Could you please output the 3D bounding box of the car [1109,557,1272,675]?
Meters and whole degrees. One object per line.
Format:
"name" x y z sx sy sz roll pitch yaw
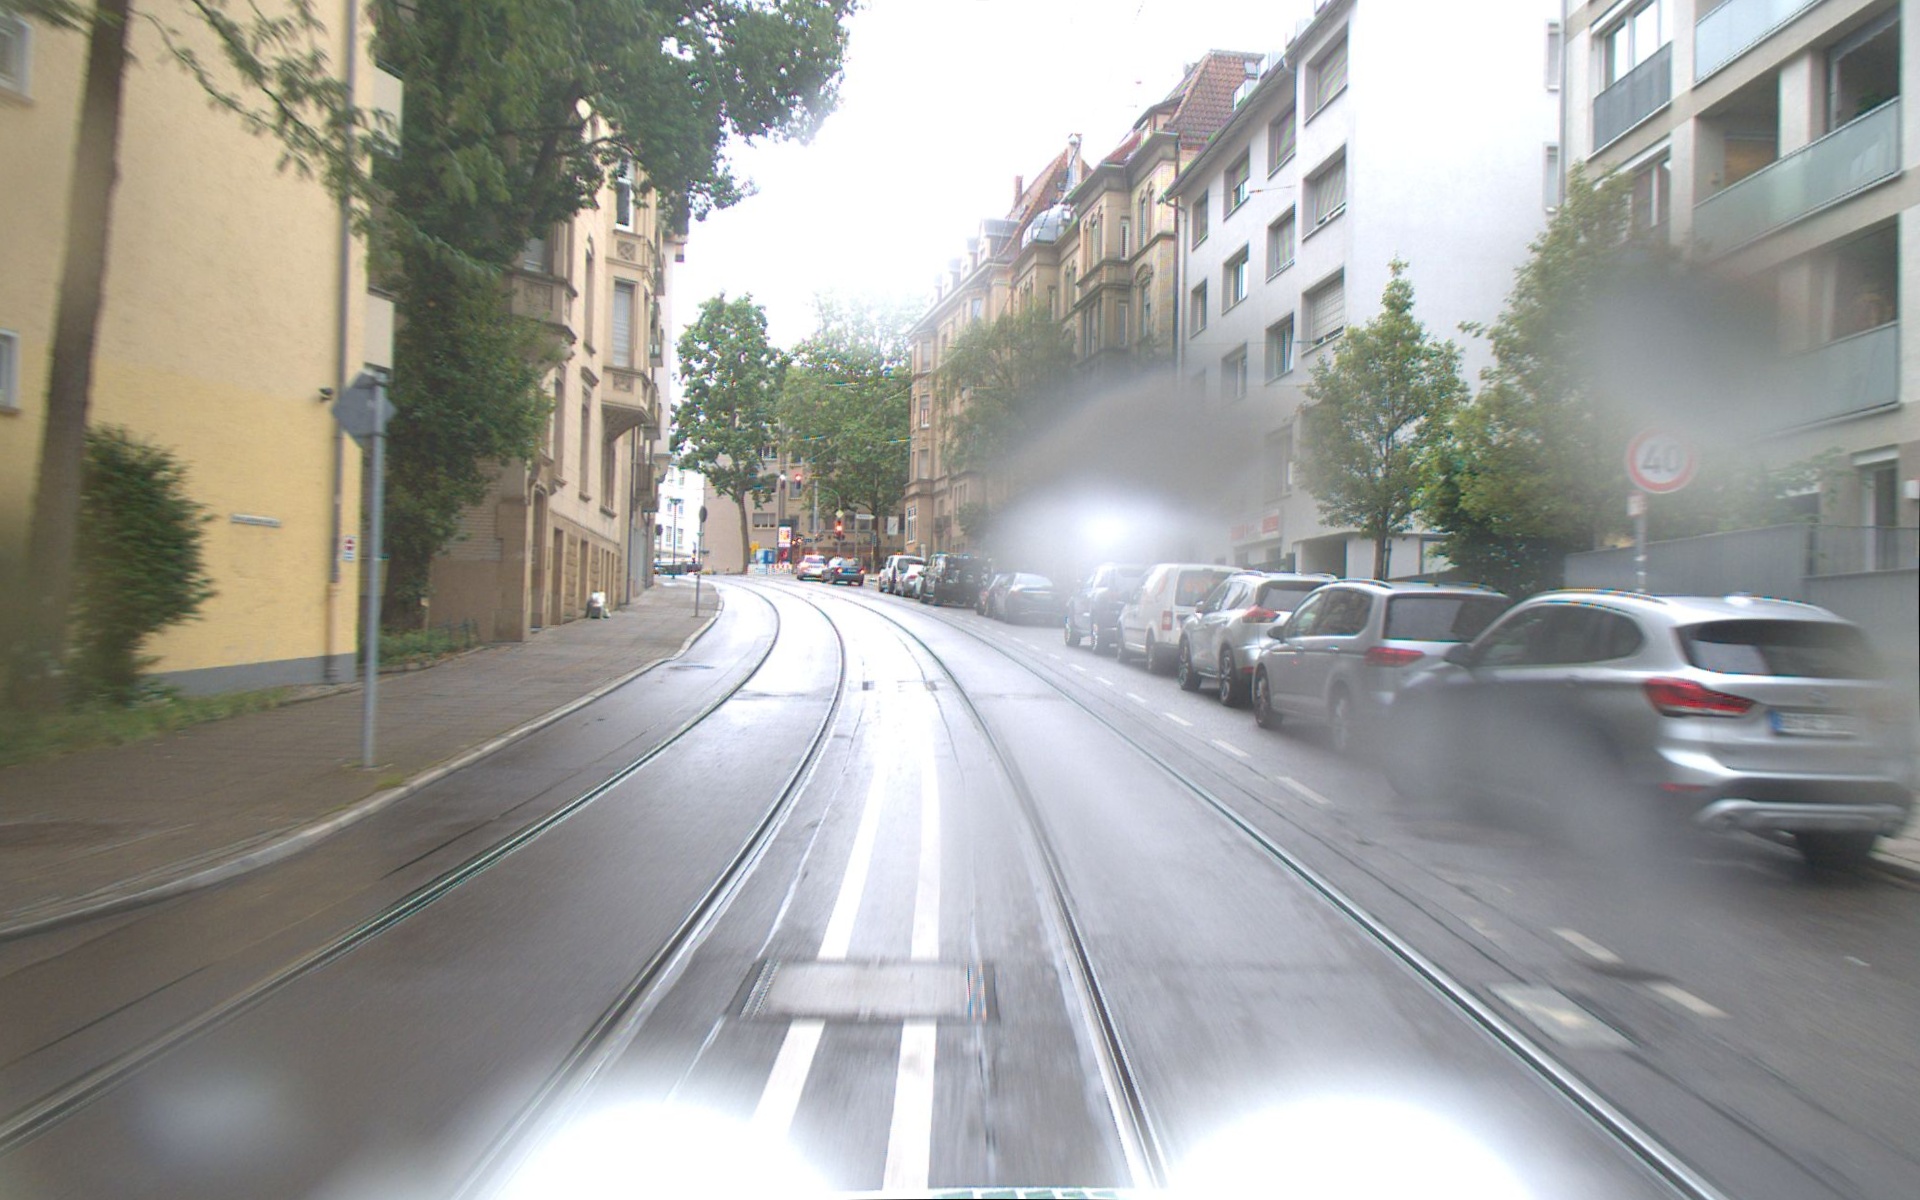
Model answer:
"car" 3.915 0.222 28.802 1.744 1.826 4.466 2 1 -6

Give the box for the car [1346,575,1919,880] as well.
"car" 4.442 0.687 11.371 1.938 1.612 4.558 2 1 -8

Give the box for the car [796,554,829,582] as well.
"car" -8.709 -1.905 97.495 1.679 1.481 3.546 2 2 -9

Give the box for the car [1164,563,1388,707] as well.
"car" 4.173 0.395 22.638 1.796 1.685 4.683 3 1 -4

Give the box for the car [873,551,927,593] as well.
"car" -2.862 -1.346 78.143 1.766 1.795 4.451 4 1 -12

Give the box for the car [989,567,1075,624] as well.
"car" 2.015 -0.165 47.502 1.760 1.462 4.605 3 1 -6

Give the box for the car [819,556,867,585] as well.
"car" -6.494 -1.664 91.683 1.684 1.439 4.016 2 2 -18

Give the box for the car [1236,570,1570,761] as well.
"car" 4.365 0.549 17.139 1.796 1.656 4.659 2 1 -5

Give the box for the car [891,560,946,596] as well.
"car" -1.850 -0.992 72.861 1.717 1.424 4.468 4 1 -10

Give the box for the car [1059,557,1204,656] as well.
"car" 3.442 0.083 34.156 1.905 1.826 4.814 2 1 -7

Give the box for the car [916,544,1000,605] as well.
"car" -0.146 -0.982 61.984 2.091 2.048 5.337 4 1 -11

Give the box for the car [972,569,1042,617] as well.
"car" 1.437 -0.252 52.057 1.646 1.361 3.878 3 1 -6

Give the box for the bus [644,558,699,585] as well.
"bus" -31.733 -3.167 182.262 2.793 2.911 8.742 1 2 12

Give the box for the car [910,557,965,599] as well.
"car" -0.953 -0.916 67.921 1.533 1.572 3.574 4 1 -12
